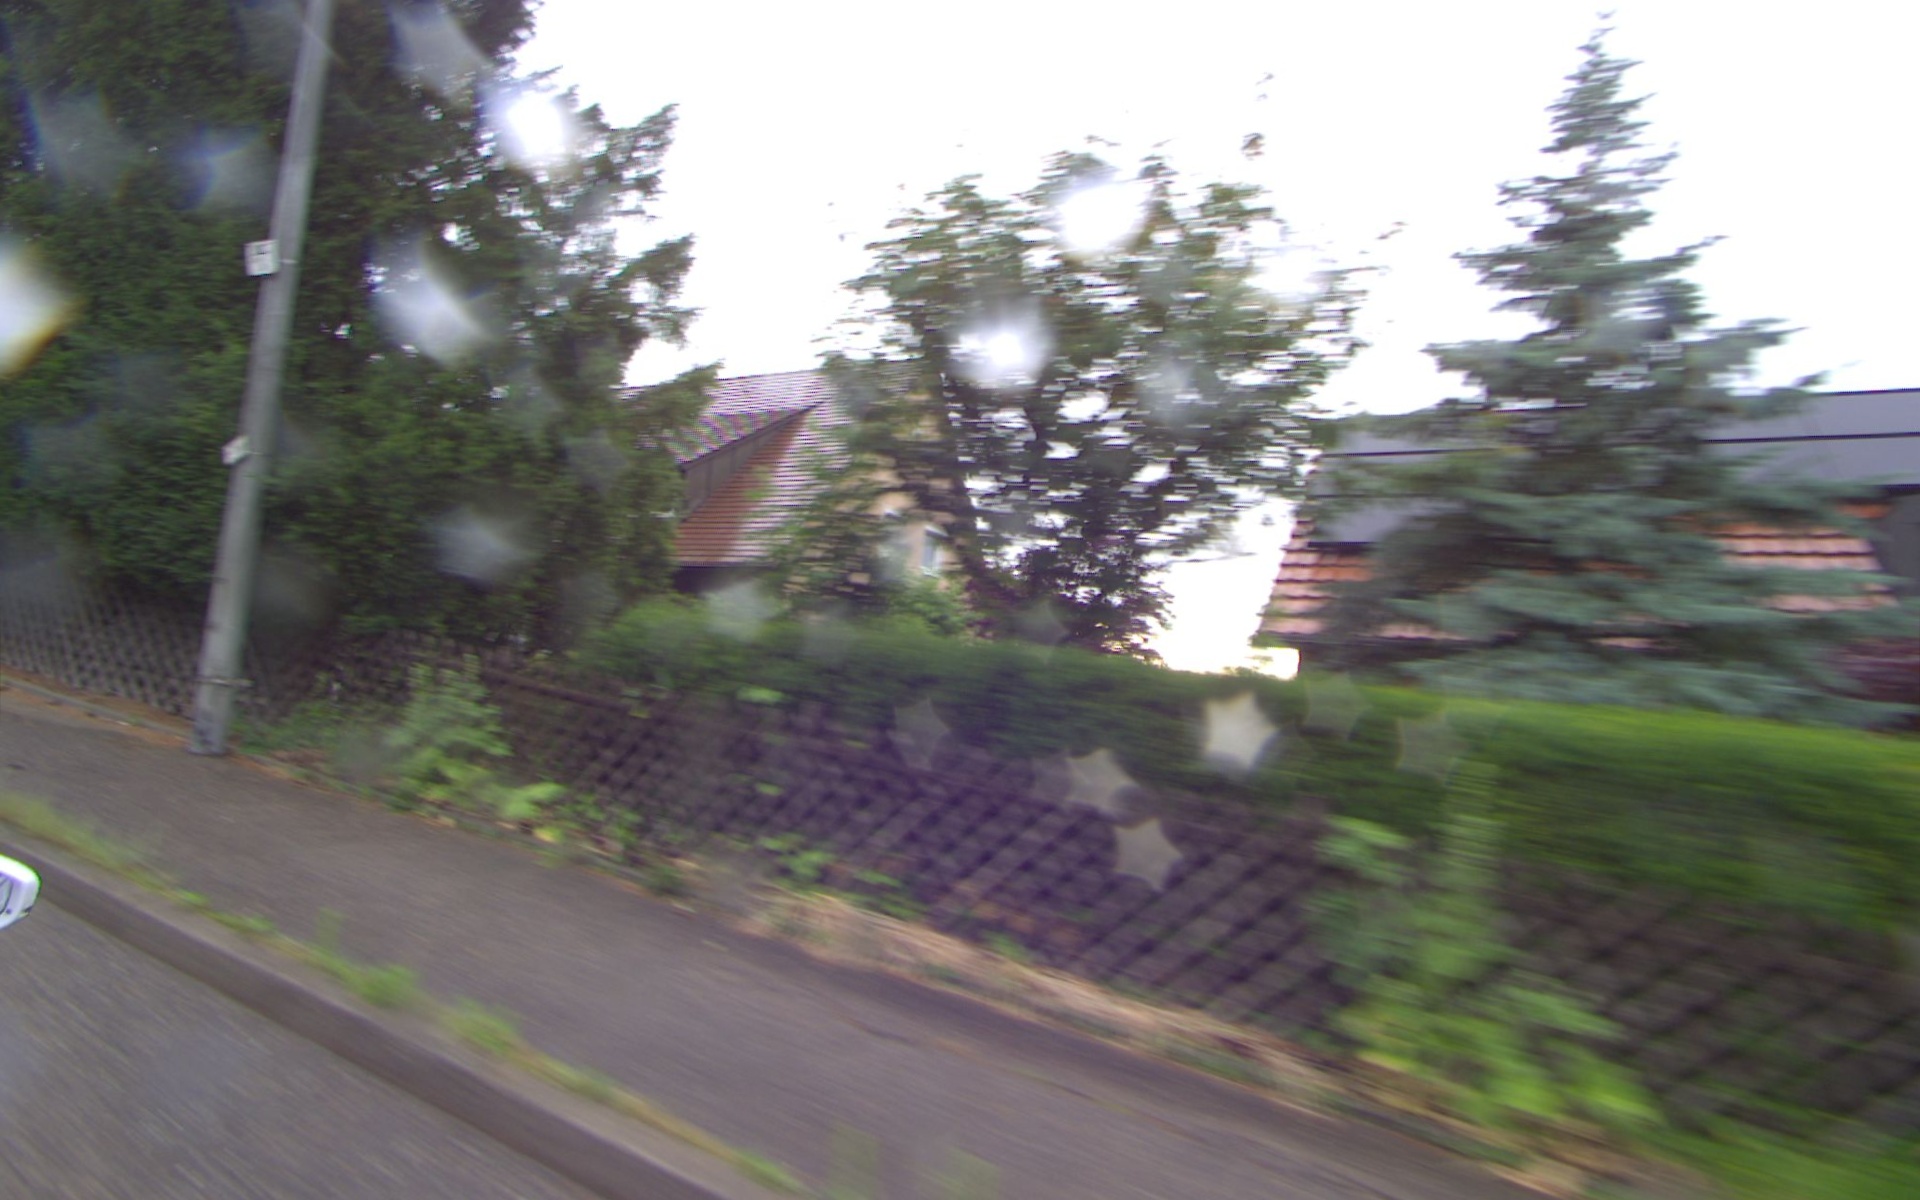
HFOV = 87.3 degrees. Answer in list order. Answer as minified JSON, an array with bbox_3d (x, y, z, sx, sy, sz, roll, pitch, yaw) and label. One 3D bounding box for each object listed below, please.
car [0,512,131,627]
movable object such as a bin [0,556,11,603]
[{"bbox_3d":[-15.468,-0.536,15.764,1.743,1.679,3.777,5,-3,-1],"label":"car"},{"bbox_3d":[-11.389,-0.008,11.433,0.584,1.128,0.507,7,-5,23],"label":"movable object such as a bin"}]
